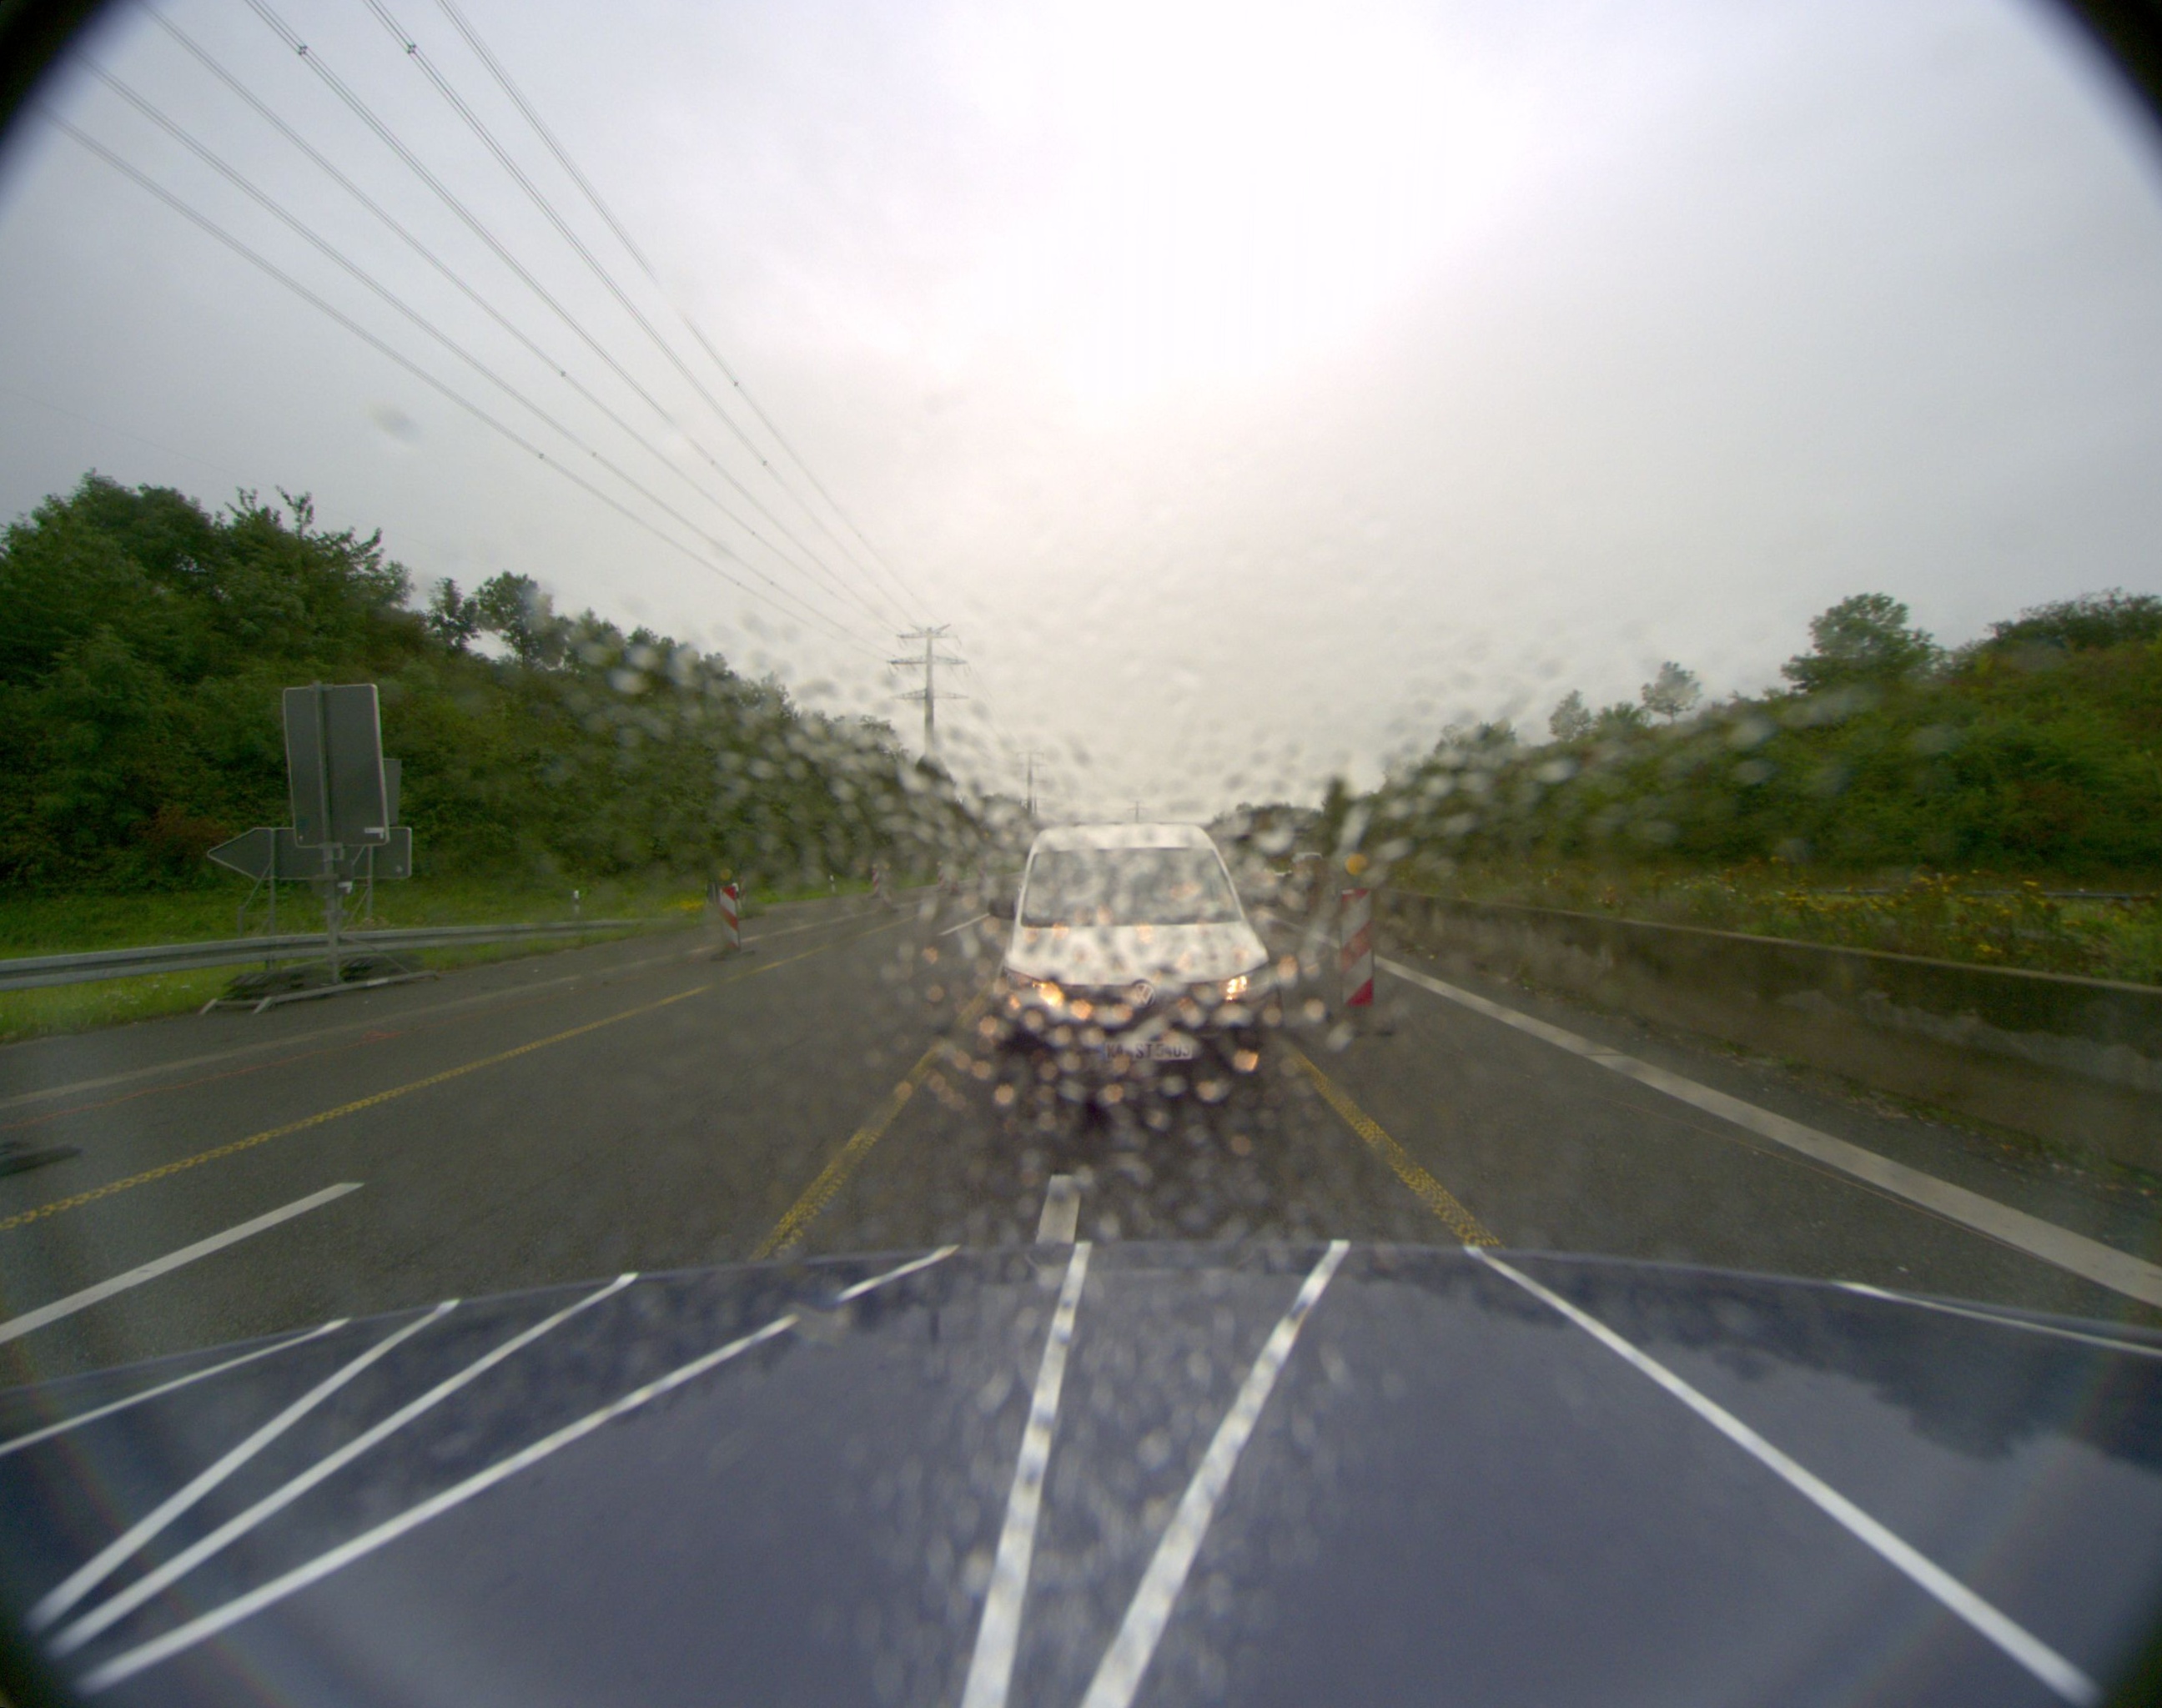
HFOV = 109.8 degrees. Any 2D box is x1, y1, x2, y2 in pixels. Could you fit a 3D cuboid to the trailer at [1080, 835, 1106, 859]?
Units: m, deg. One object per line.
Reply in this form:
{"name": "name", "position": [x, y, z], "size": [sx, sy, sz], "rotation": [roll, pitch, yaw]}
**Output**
{"name": "trailer", "position": [2.164, -1.220, 129.800], "size": [2.524, 3.812, 12.357], "rotation": [-2, 1, 9]}

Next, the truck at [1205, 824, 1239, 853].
{"name": "truck", "position": [24.423, -2.664, 132.628], "size": [3.414, 4.498, 17.288], "rotation": [-1, 1, 3]}

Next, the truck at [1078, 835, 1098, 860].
{"name": "truck", "position": [1.192, -1.066, 124.688], "size": [2.552, 3.924, 4.002], "rotation": [-2, 1, 11]}

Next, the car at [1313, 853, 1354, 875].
{"name": "car", "position": [20.425, 0.795, 61.610], "size": [1.998, 1.652, 4.296], "rotation": [0, 0, 1]}

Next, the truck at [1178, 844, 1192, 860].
{"name": "truck", "position": [28.529, -0.632, 208.977], "size": [2.681, 4.221, 12.517], "rotation": [-2, 1, 3]}

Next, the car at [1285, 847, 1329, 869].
{"name": "car", "position": [16.616, 0.295, 56.179], "size": [1.873, 1.534, 4.747], "rotation": [0, 0, 1]}

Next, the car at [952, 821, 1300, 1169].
{"name": "car", "position": [0.261, 0.746, 6.335], "size": [1.770, 1.774, 4.647], "rotation": [-2, 0, 1]}

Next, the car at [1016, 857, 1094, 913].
{"name": "car", "position": [-0.713, 0.883, 23.668], "size": [1.874, 1.526, 4.198], "rotation": [-1, 0, 6]}
